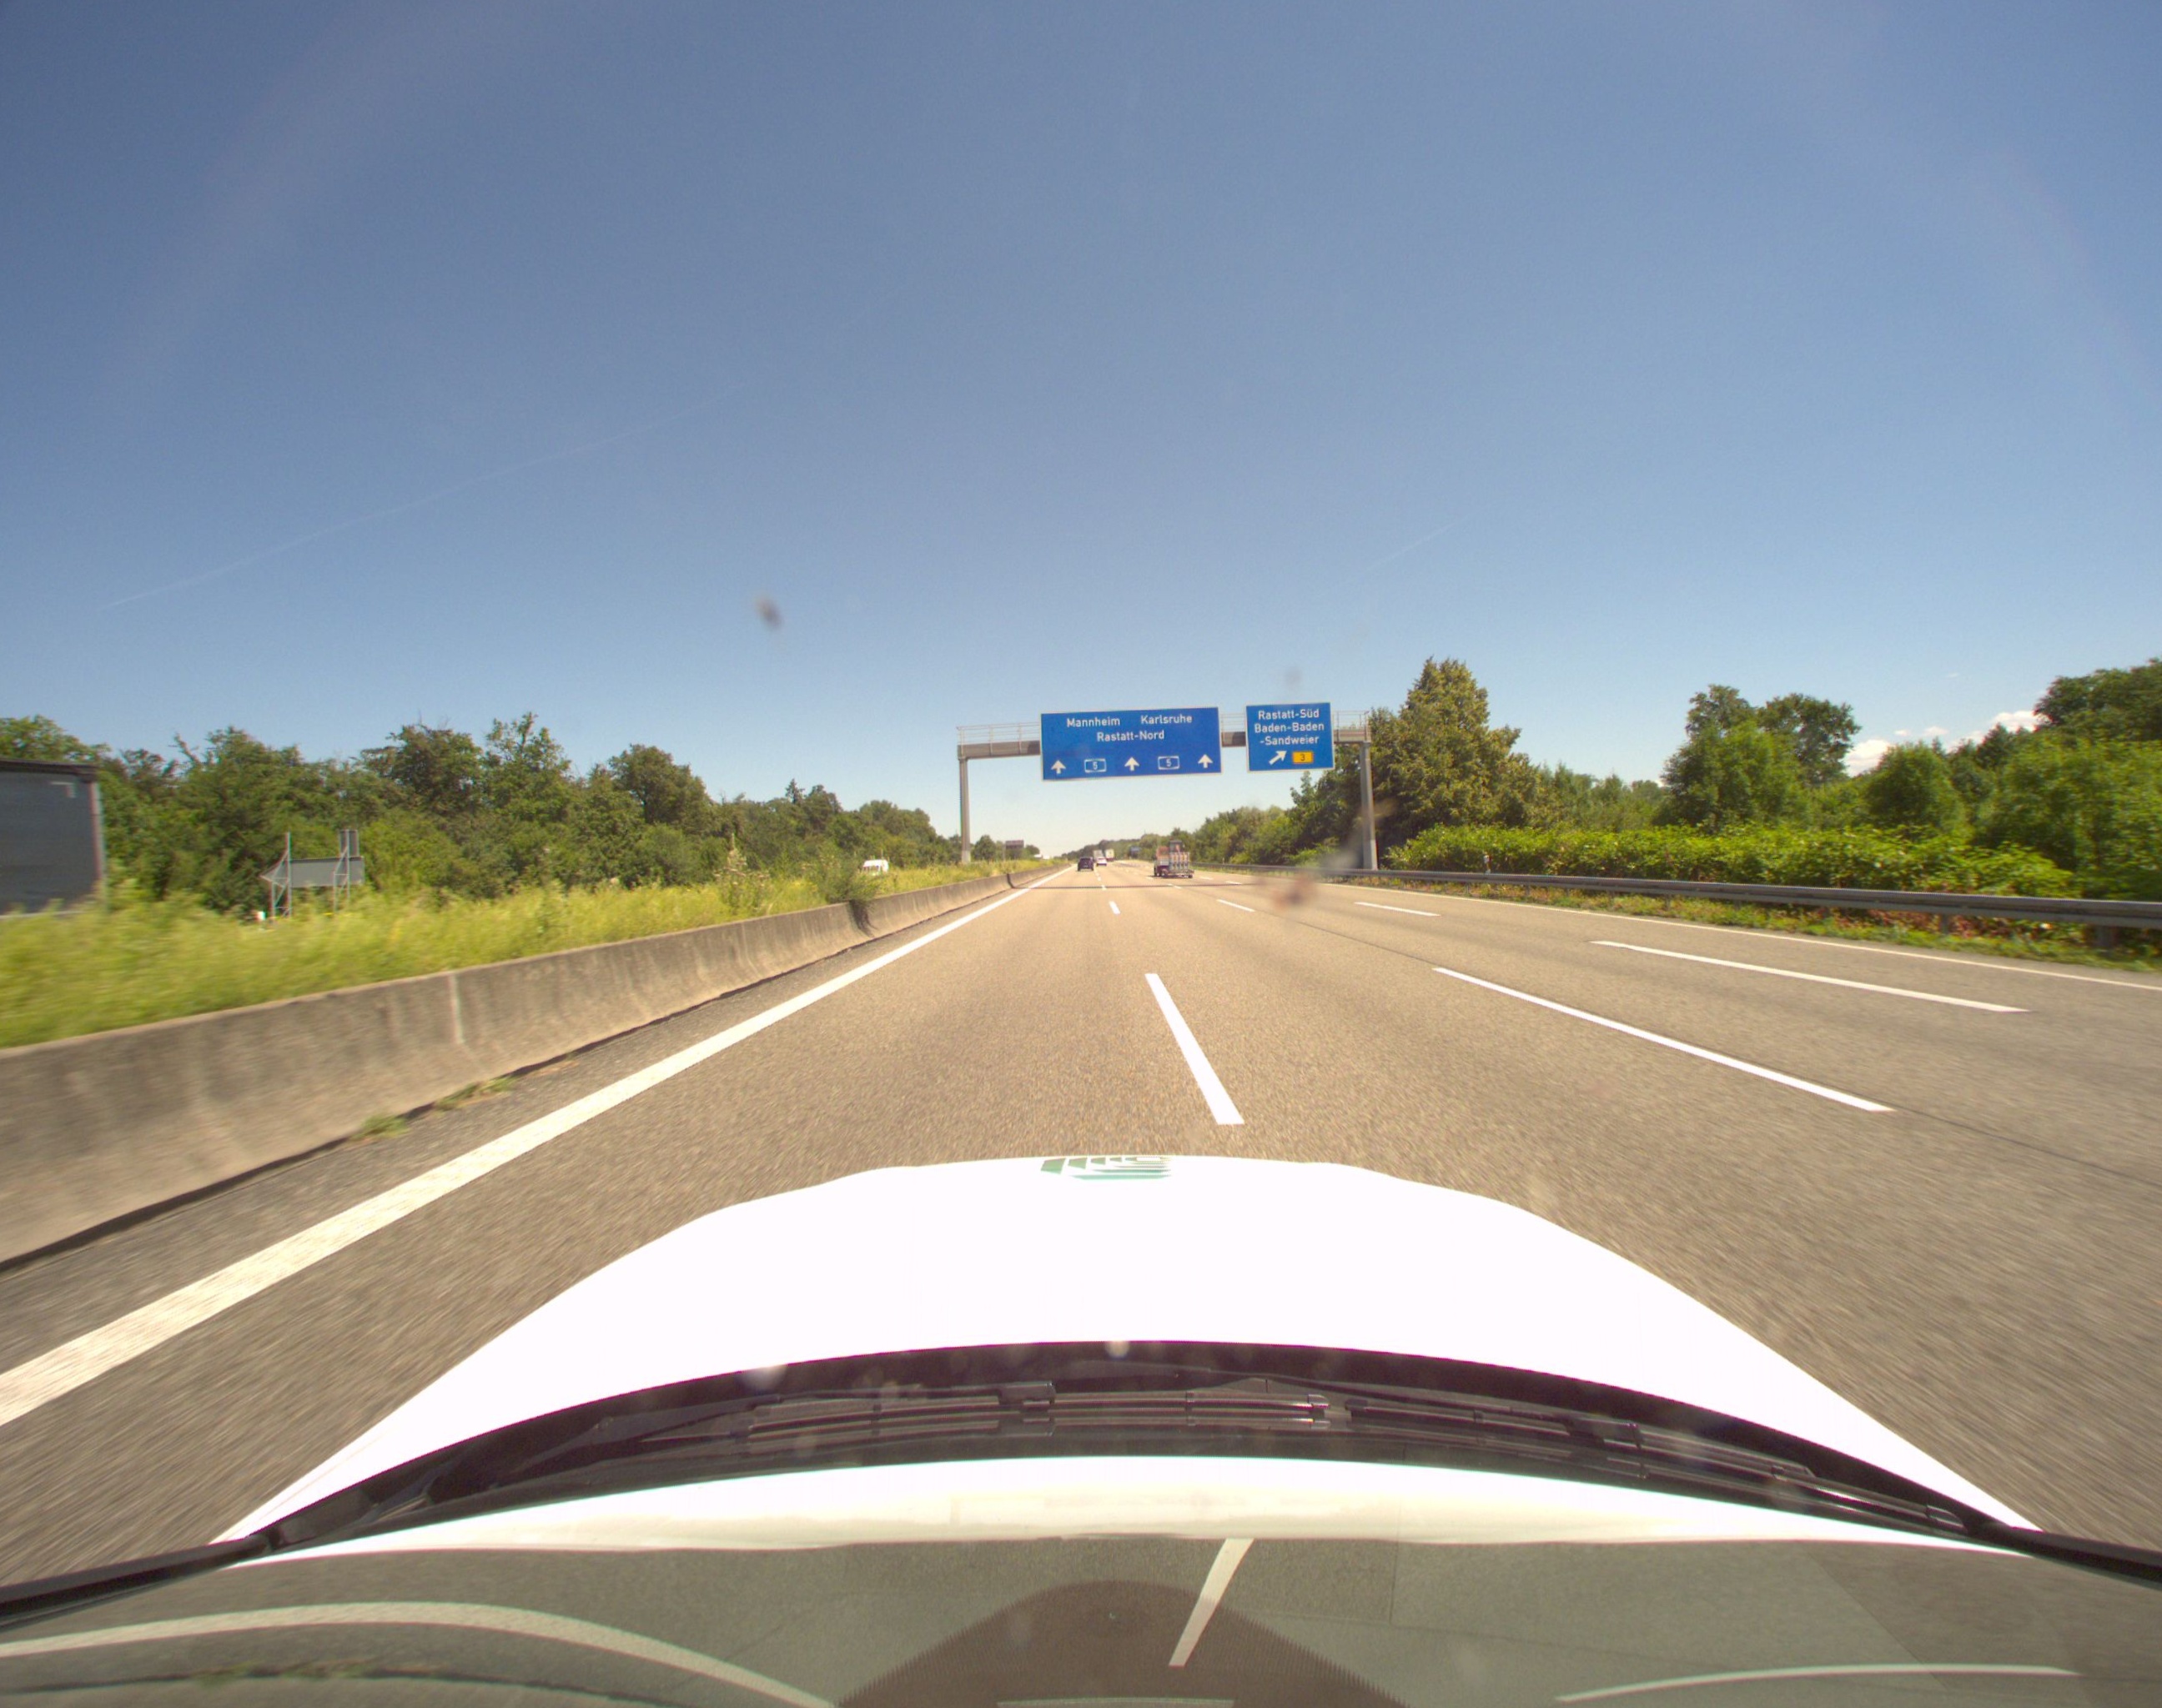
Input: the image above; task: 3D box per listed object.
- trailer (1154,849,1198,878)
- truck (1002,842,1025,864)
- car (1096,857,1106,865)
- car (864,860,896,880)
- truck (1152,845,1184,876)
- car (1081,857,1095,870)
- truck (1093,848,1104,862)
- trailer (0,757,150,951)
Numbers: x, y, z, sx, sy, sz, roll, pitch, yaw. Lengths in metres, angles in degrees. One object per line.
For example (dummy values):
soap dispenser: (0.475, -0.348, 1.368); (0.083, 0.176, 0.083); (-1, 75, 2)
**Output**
trailer: (6.972, 0.704, 60.422); (2.414, 2.013, 6.030); (-1, 0, -1)
truck: (-21.927, -0.350, 265.861); (5.401, 6.925, 17.011); (-1, 0, 2)
car: (3.694, 1.259, 149.747); (1.734, 1.486, 3.999); (-1, -1, 0)
car: (-21.154, 1.682, 85.931); (1.986, 2.014, 5.188); (-1, 0, 2)
truck: (6.960, 0.547, 65.777); (1.988, 2.374, 4.642); (-1, 0, -1)
car: (0.827, 1.217, 101.883); (1.655, 1.549, 3.781); (-2, 0, -1)
truck: (5.285, 0.257, 247.421); (3.299, 3.994, 8.400); (-1, -1, -1)
trailer: (-18.586, -0.007, 9.091); (2.592, 3.102, 11.953); (-1, 0, 0)
